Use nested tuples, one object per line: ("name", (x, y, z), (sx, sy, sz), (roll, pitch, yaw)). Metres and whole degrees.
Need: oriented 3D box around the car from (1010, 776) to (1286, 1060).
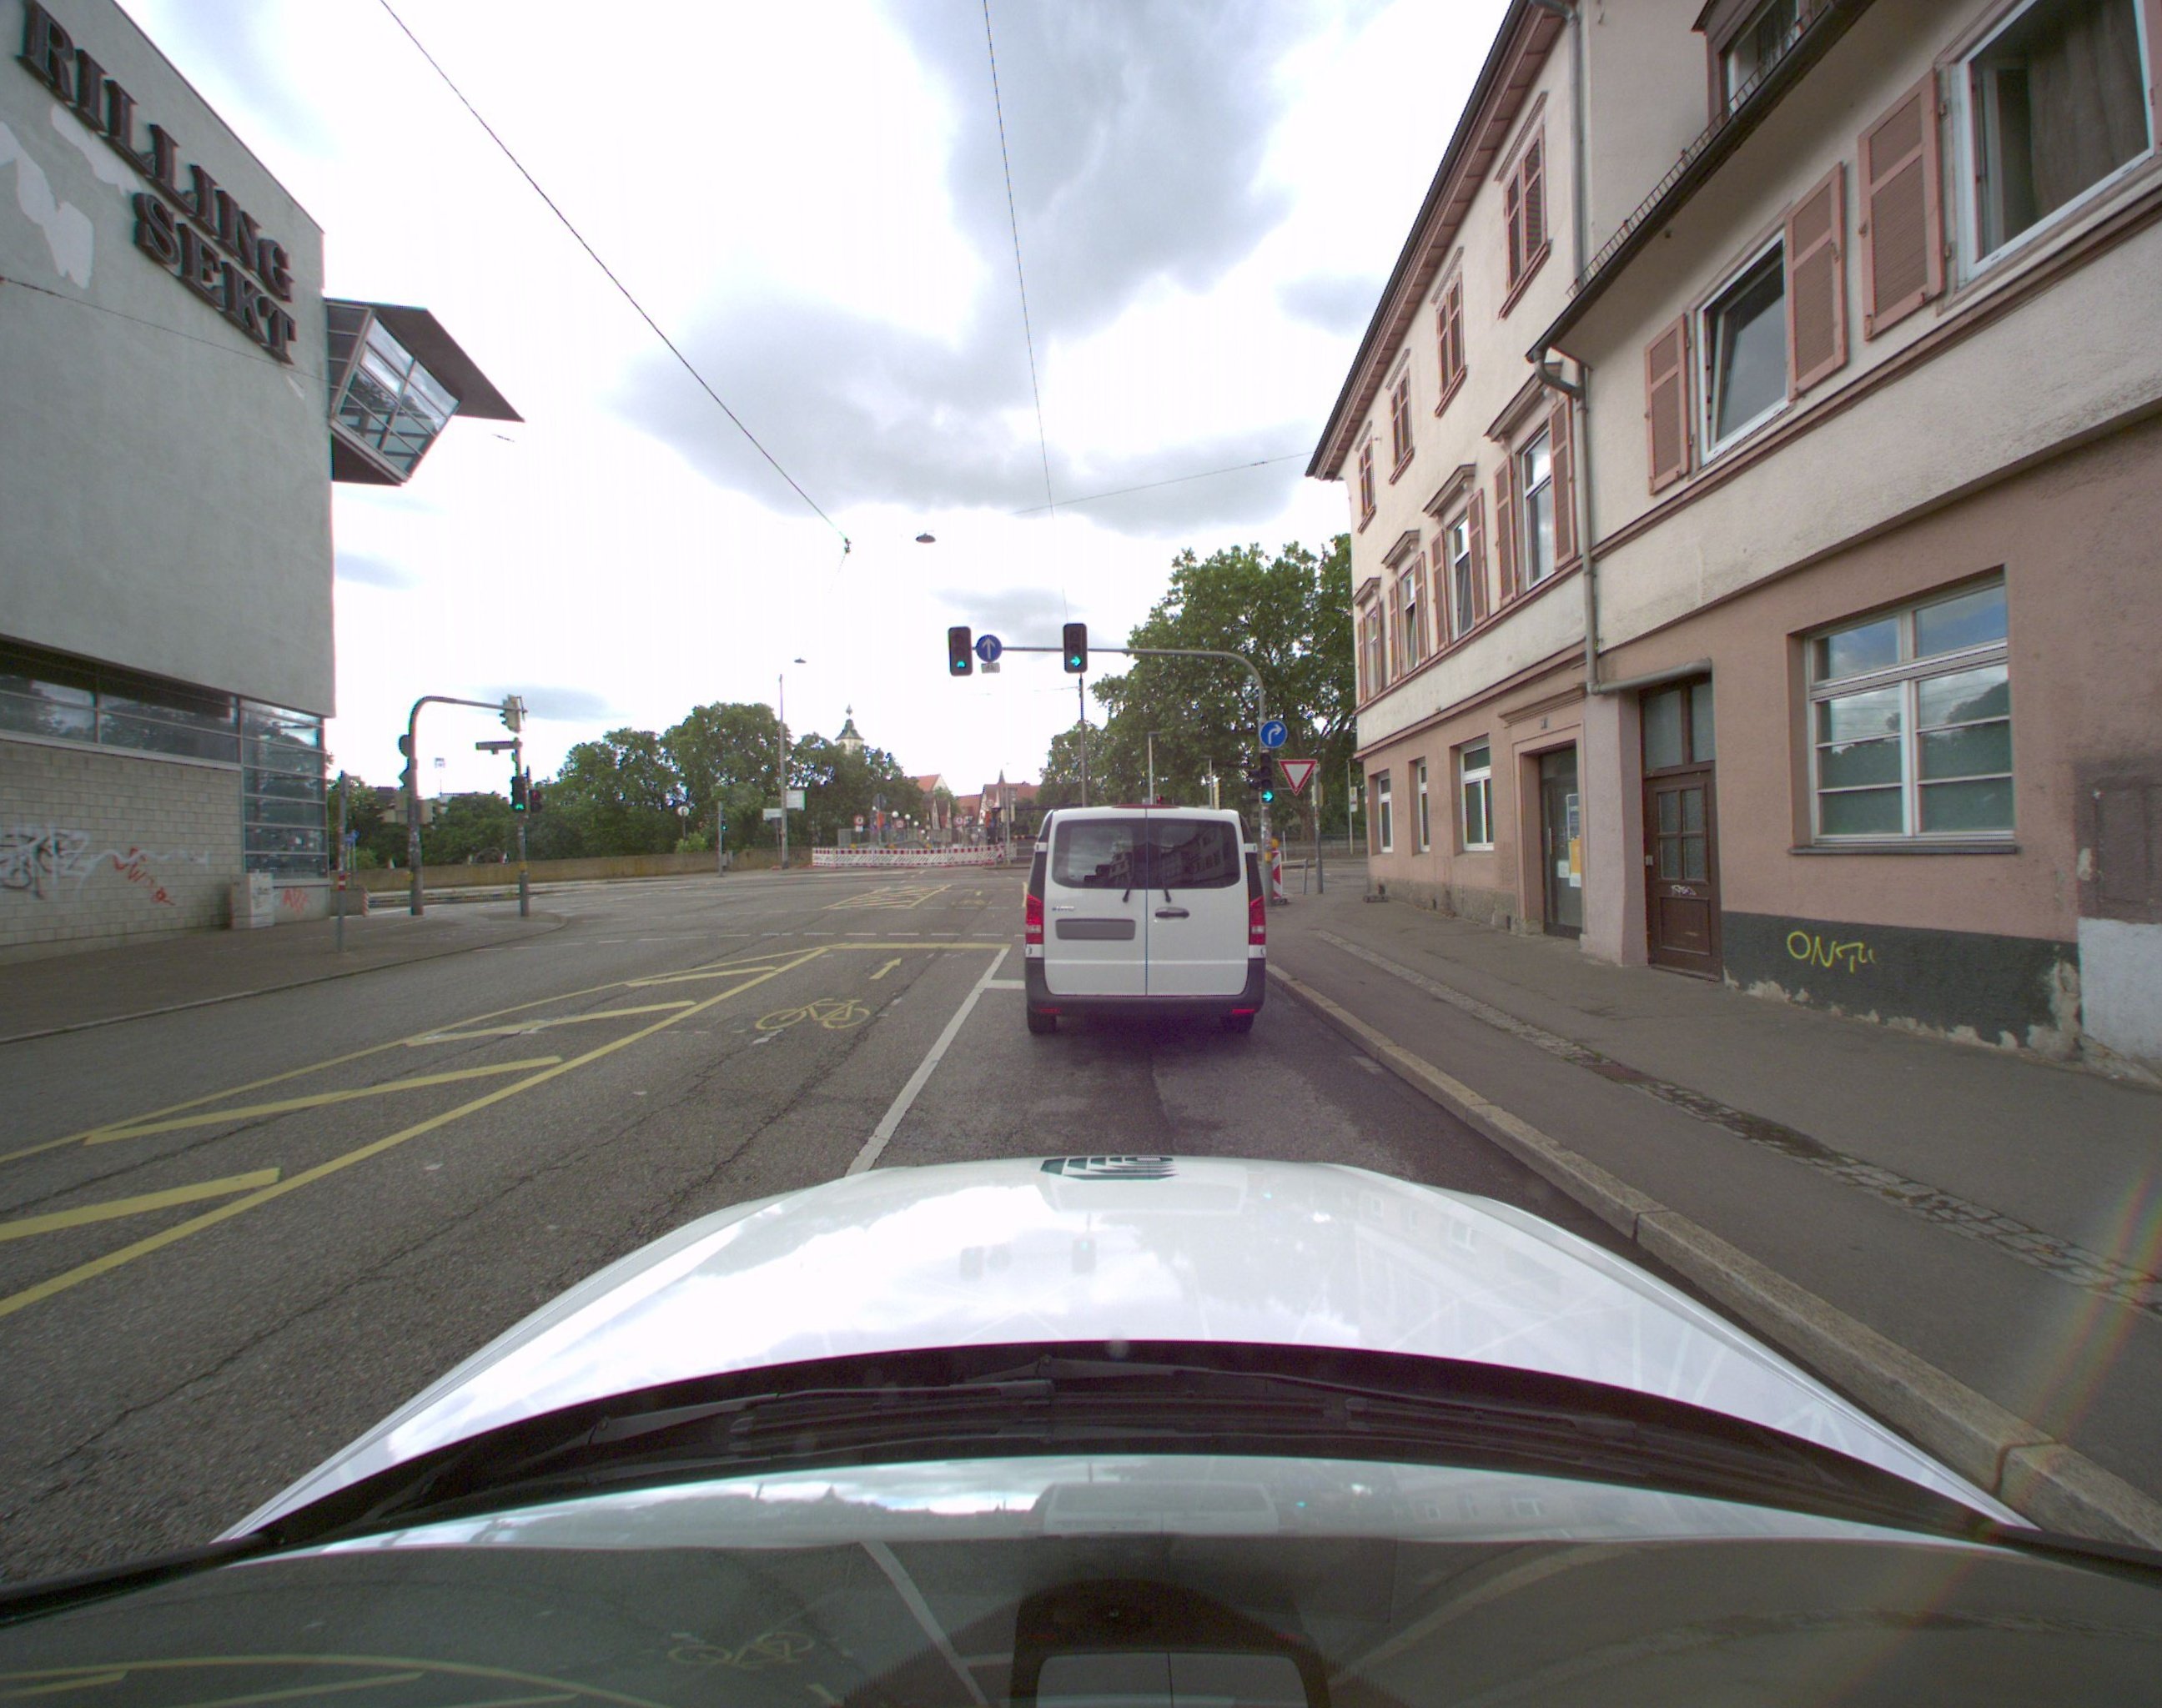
("car", (0.553, 0.405, 8.139), (1.943, 2.013, 4.700), (0, 1, 2))
